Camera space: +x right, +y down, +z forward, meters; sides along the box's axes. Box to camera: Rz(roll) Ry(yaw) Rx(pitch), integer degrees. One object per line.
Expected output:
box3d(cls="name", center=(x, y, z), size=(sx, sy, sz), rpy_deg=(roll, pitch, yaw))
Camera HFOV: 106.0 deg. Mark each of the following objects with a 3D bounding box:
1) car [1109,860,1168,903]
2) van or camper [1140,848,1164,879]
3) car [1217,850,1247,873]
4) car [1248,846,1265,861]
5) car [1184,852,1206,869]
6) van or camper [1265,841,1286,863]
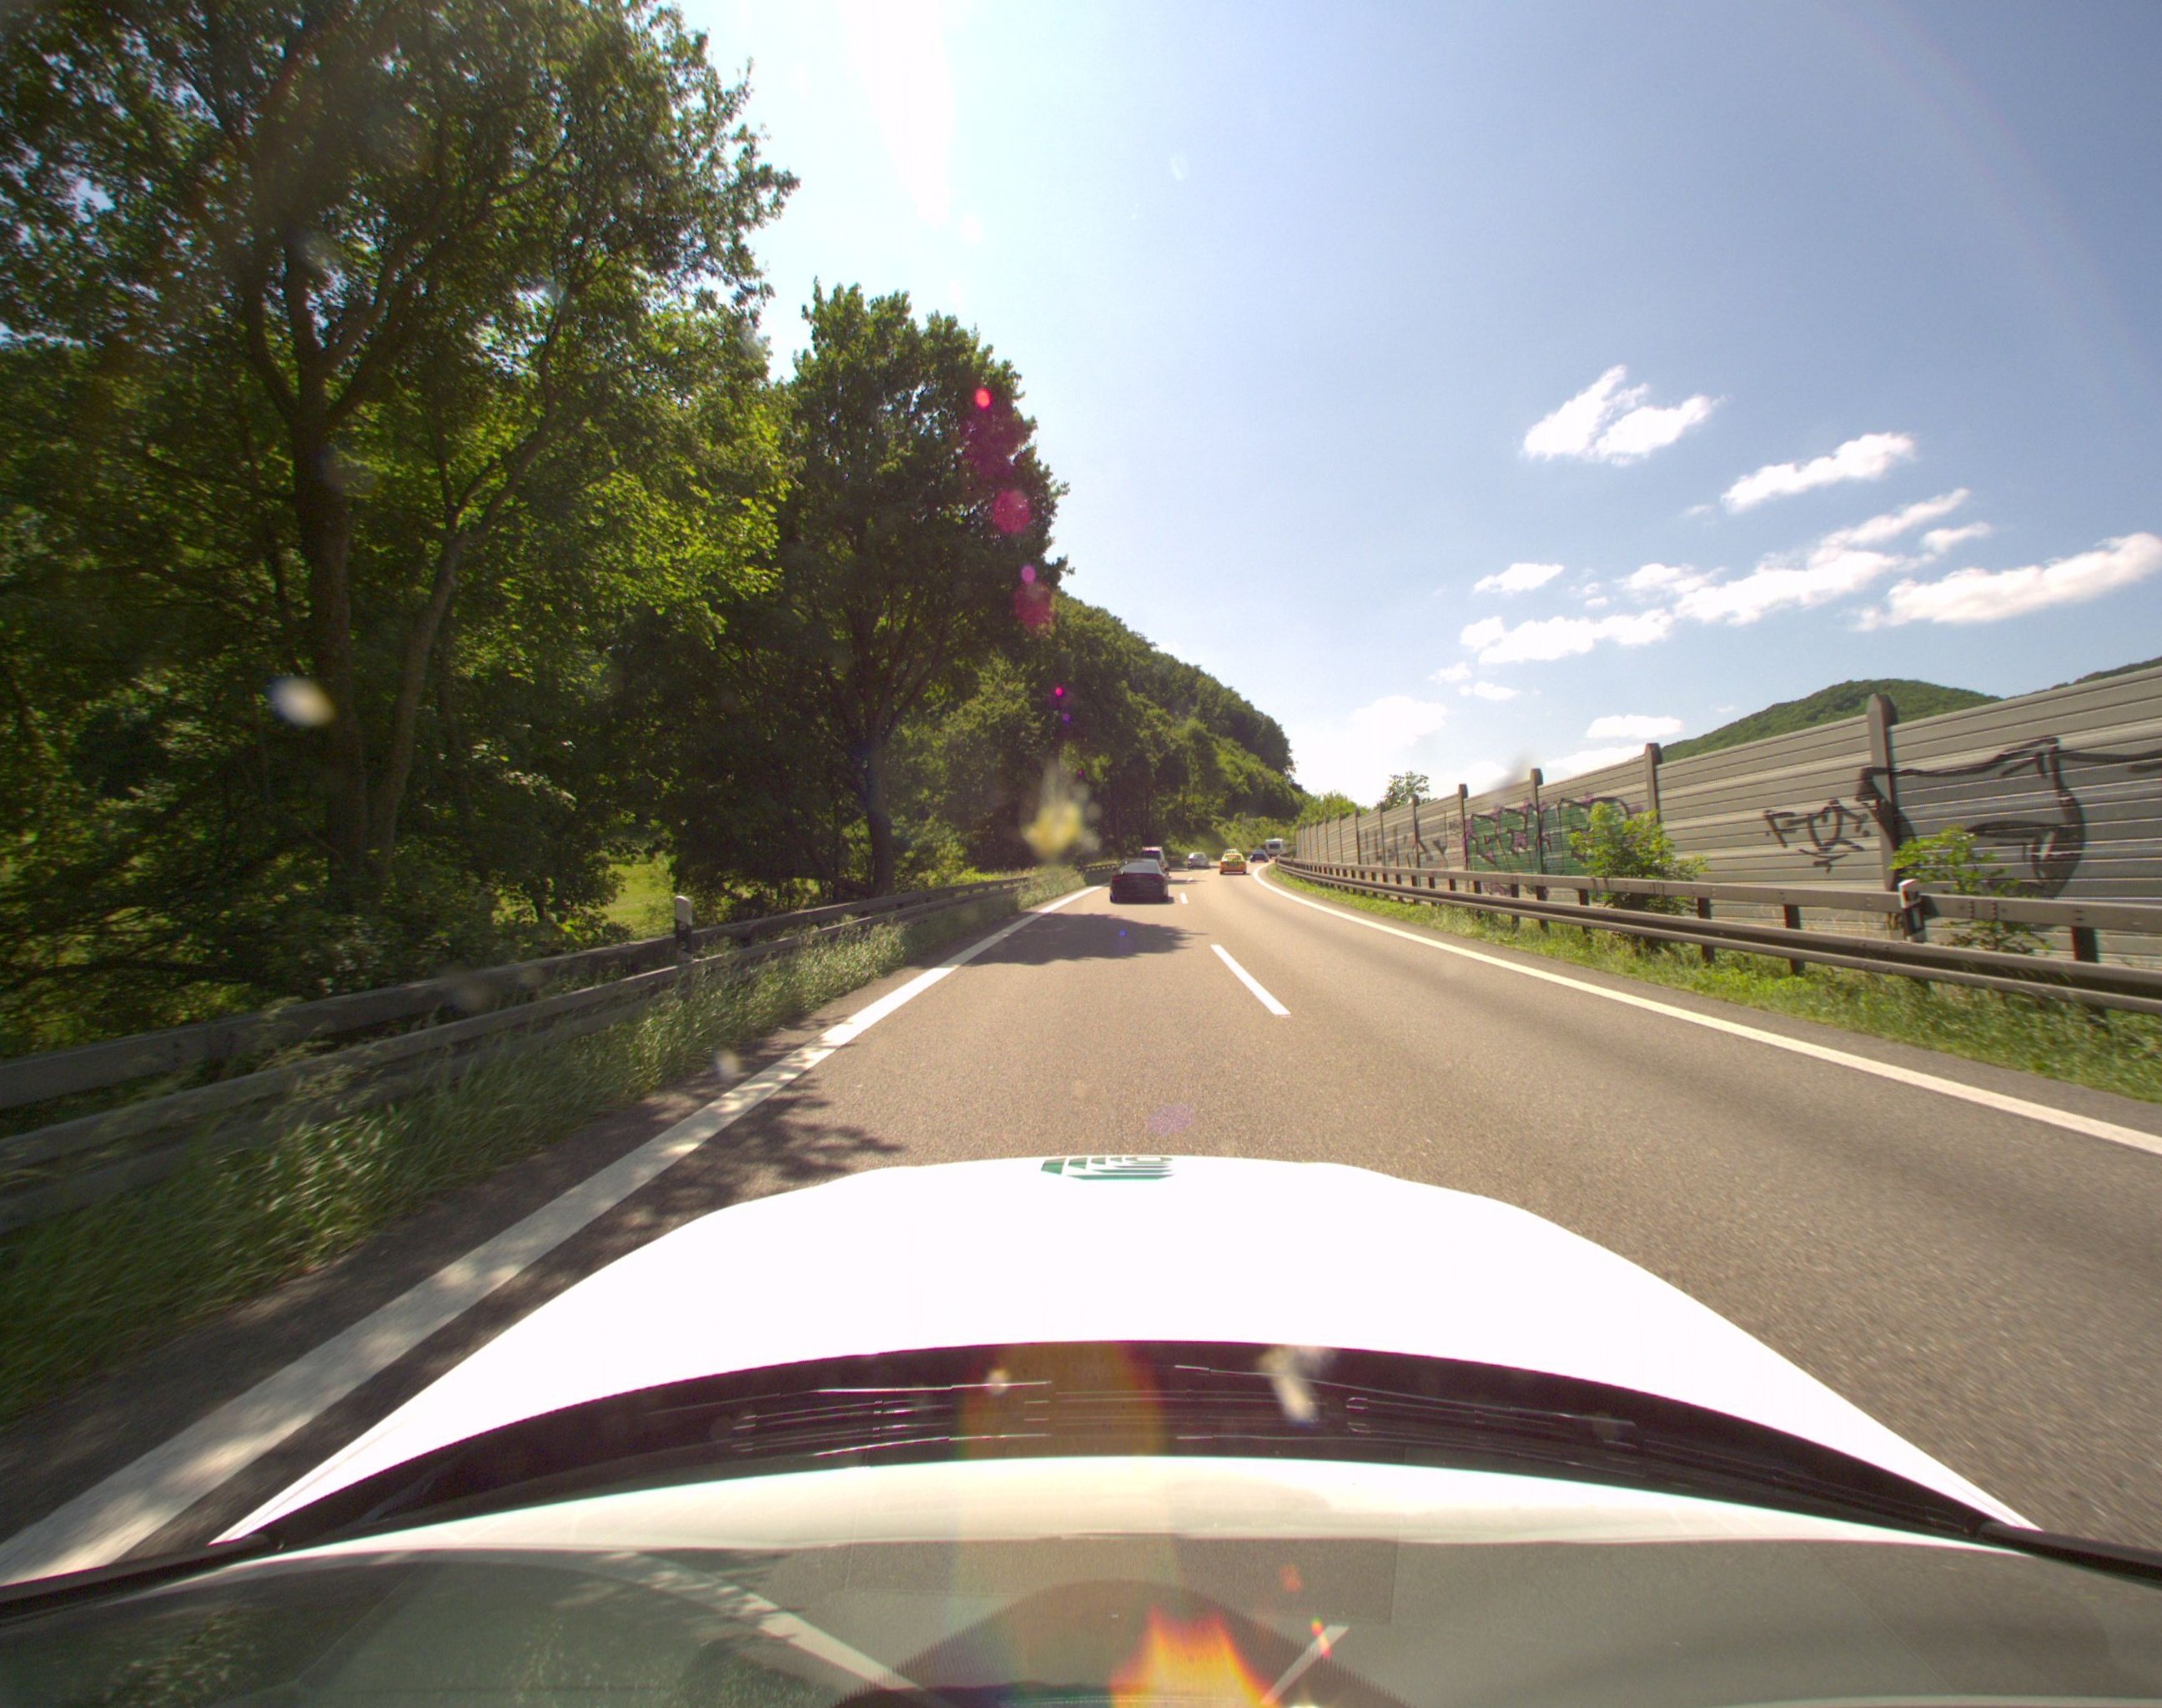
box3d(cls="car", center=(1.954, 0.876, 27.247), size=(1.829, 1.349, 4.005), rpy_deg=(0, -1, 5))
box3d(cls="van or camper", center=(4.465, 0.584, 50.957), size=(1.385, 1.816, 4.005), rpy_deg=(-2, -1, 5))
box3d(cls="car", center=(10.515, 0.504, 56.423), size=(1.850, 1.488, 4.013), rpy_deg=(-2, -1, 12))
box3d(cls="car", center=(20.420, -0.021, 94.799), size=(1.760, 1.637, 4.016), rpy_deg=(-2, -1, 15))
box3d(cls="car", center=(9.857, 0.570, 70.782), size=(1.738, 1.431, 4.007), rpy_deg=(-2, -1, 6))
box3d(cls="van or camper", center=(26.871, -0.273, 112.340), size=(2.436, 2.918, 6.153), rpy_deg=(-2, -1, 17))
